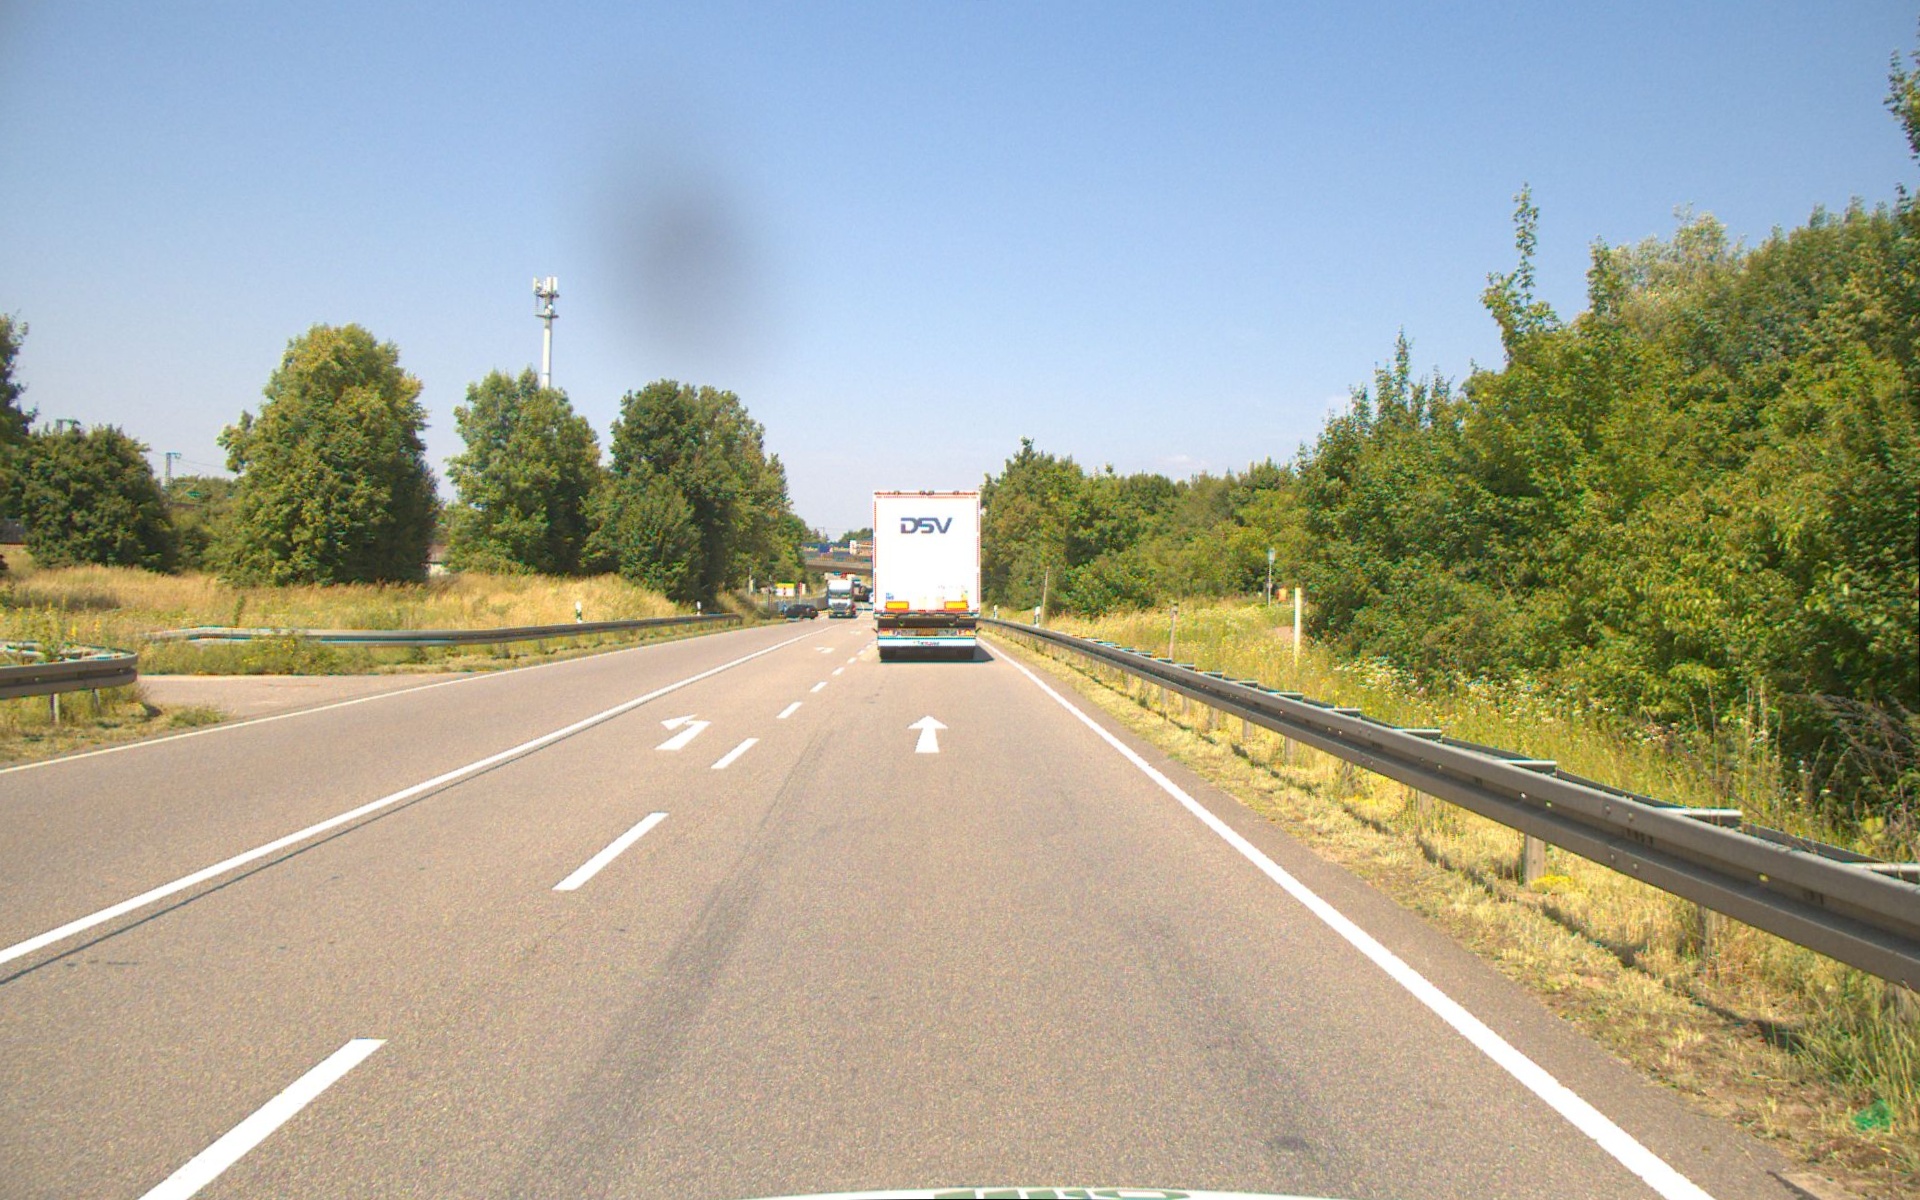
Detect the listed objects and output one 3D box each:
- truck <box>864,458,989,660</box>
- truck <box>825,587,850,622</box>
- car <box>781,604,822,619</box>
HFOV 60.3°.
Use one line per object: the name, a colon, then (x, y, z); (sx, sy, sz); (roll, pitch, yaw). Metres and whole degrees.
truck: (-0.845, -0.918, 43.108); (2.890, 4.648, 9.860); (0, 0, -1)
truck: (-13.630, 0.445, 184.350); (2.306, 3.815, 12.619); (0, 0, -2)
car: (-15.968, 1.165, 166.498); (3.816, 1.540, 1.697); (0, 0, -26)
